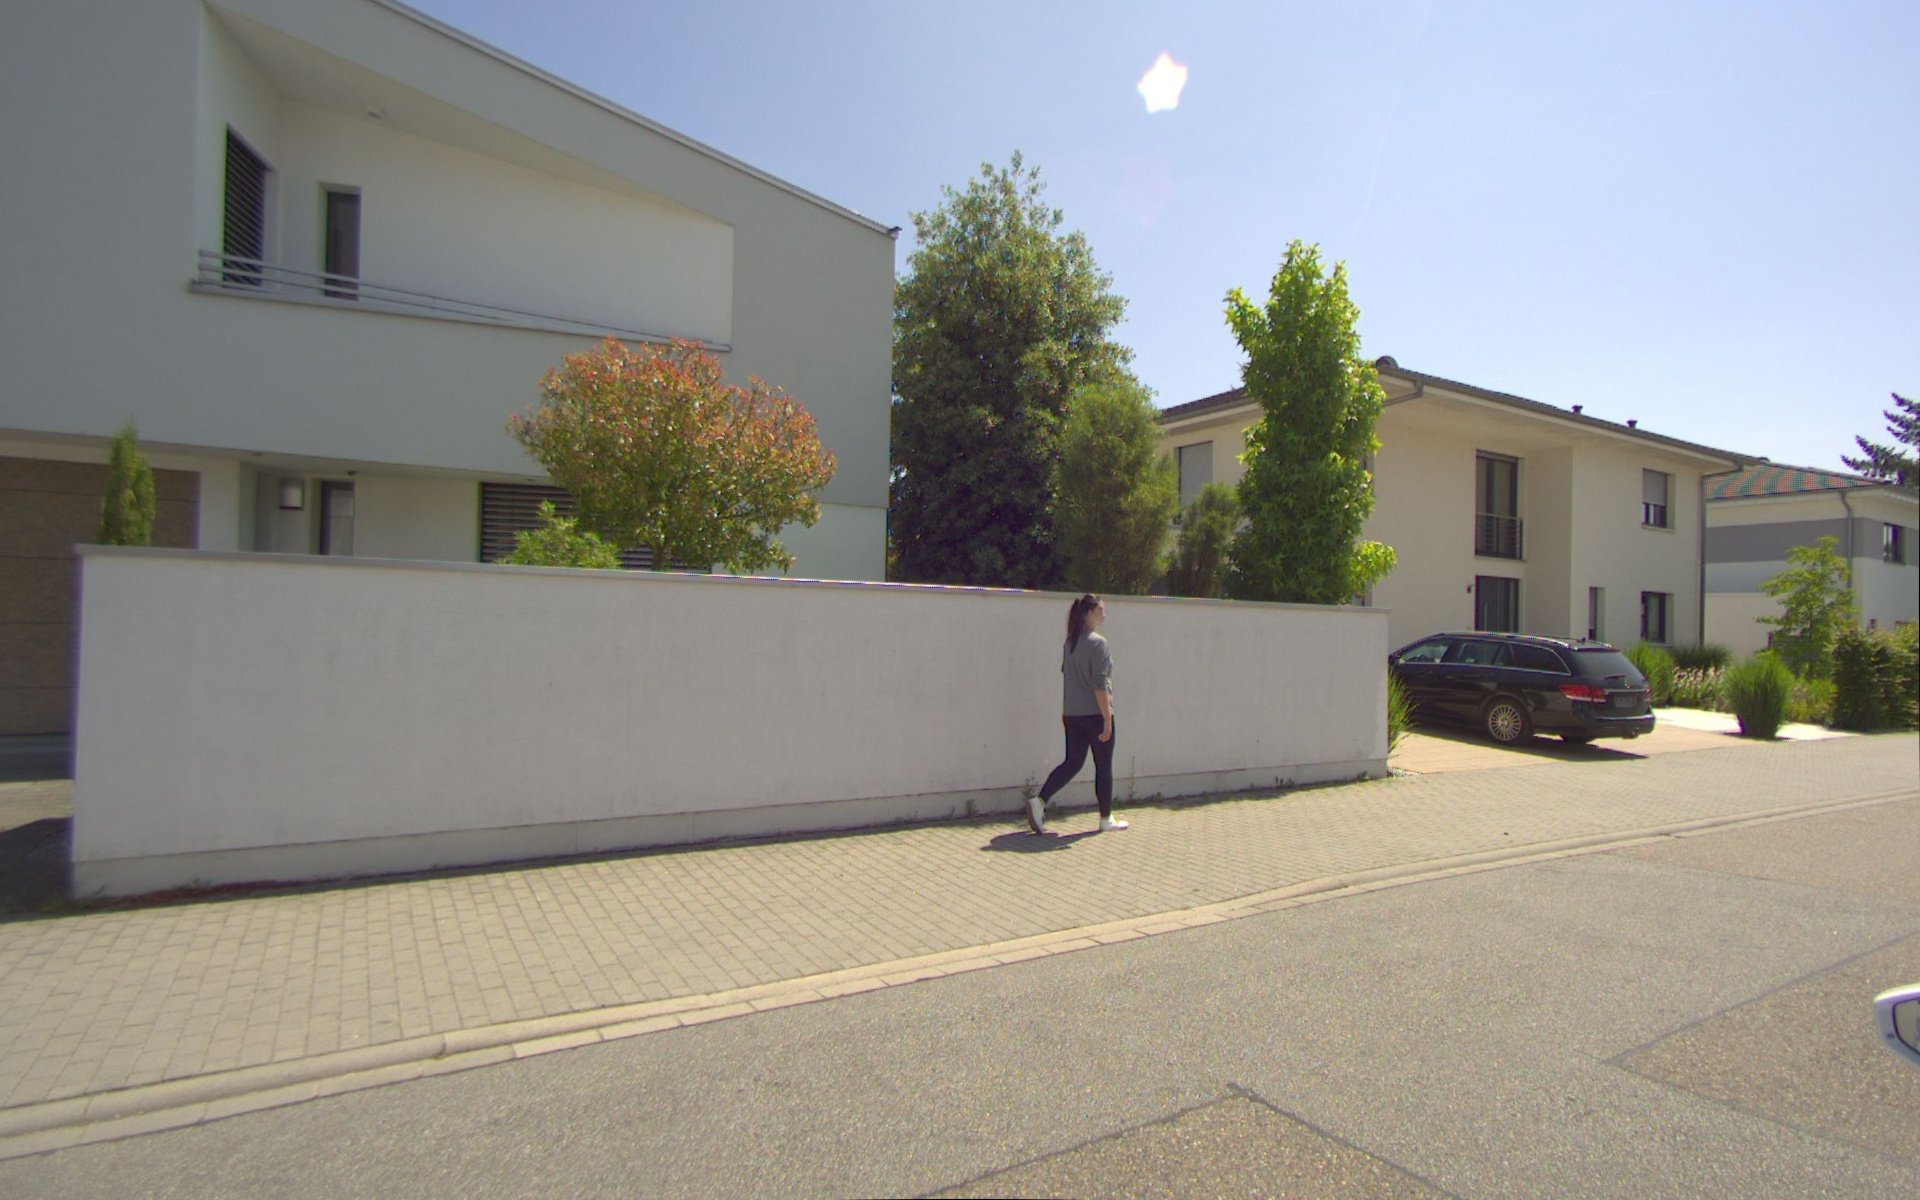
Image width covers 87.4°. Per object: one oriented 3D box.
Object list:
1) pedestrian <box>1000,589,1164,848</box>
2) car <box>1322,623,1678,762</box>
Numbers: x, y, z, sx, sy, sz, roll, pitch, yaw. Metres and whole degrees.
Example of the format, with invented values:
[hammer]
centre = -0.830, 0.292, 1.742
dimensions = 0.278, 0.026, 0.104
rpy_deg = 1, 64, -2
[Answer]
[pedestrian]
centre = 0.900, 0.834, 7.432
dimensions = 0.950, 1.770, 0.711
rpy_deg = 2, -2, -31
[car]
centre = 7.812, 1.245, 15.052
dimensions = 1.826, 1.493, 4.413
rpy_deg = 2, 1, -26
